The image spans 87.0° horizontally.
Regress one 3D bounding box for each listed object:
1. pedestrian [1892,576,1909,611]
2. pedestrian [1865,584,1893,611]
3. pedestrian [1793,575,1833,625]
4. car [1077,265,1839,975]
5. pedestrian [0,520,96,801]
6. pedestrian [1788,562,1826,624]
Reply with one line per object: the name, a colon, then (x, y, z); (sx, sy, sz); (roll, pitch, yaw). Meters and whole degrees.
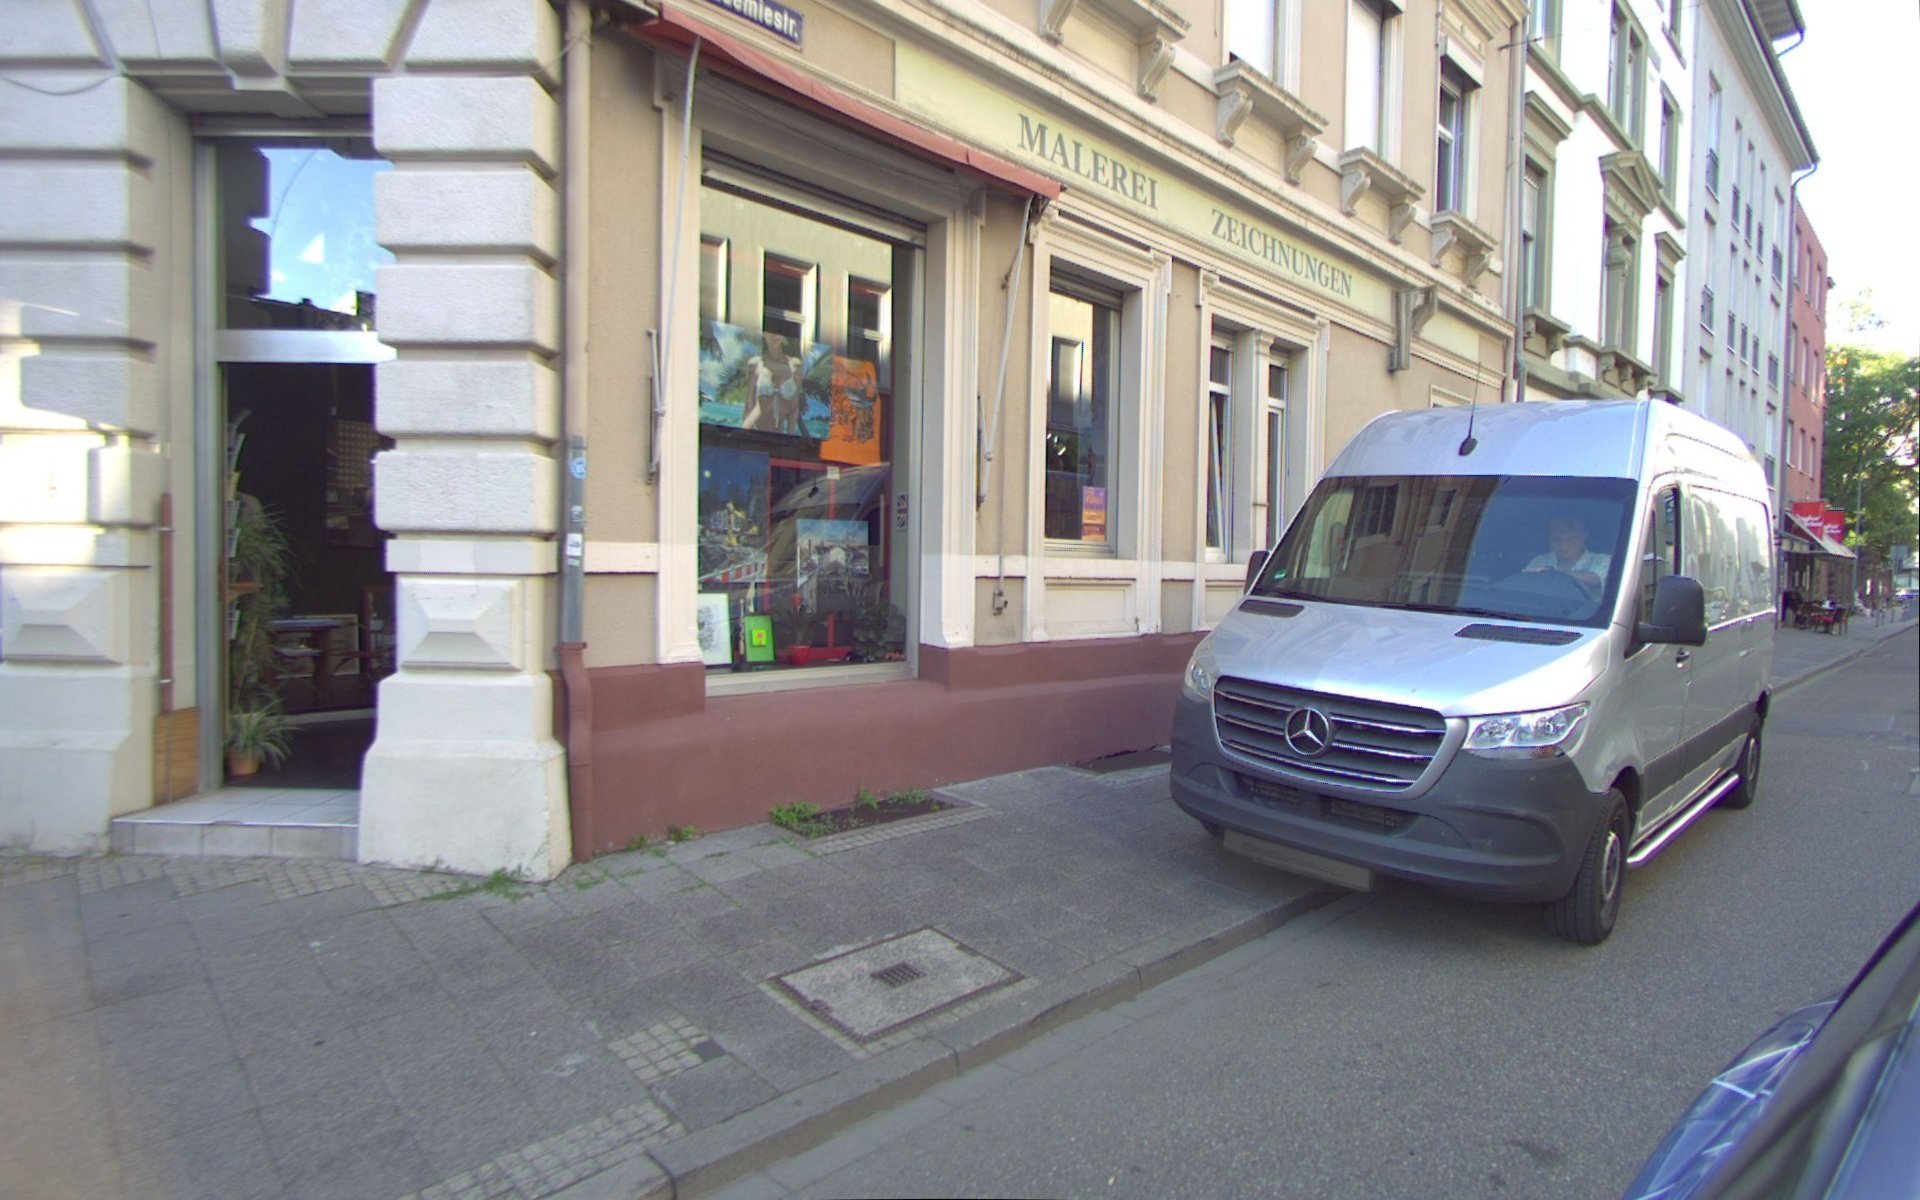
pedestrian: (46.011, -0.315, 49.518); (0.547, 1.666, 0.438); (0, 3, -36)
pedestrian: (45.351, -0.136, 49.950); (0.926, 1.264, 0.357); (5, 3, 44)
pedestrian: (26.308, -0.004, 31.214); (0.650, 1.504, 0.826); (0, 2, -44)
car: (3.620, 0.005, 6.441); (6.098, 2.469, 2.280); (-1, 2, -43)
pedestrian: (-5.257, 0.316, 5.592); (0.705, 1.490, 0.579); (-1, 1, -43)
pedestrian: (25.932, -0.231, 30.987); (0.655, 1.814, 0.722); (5, 4, 31)
